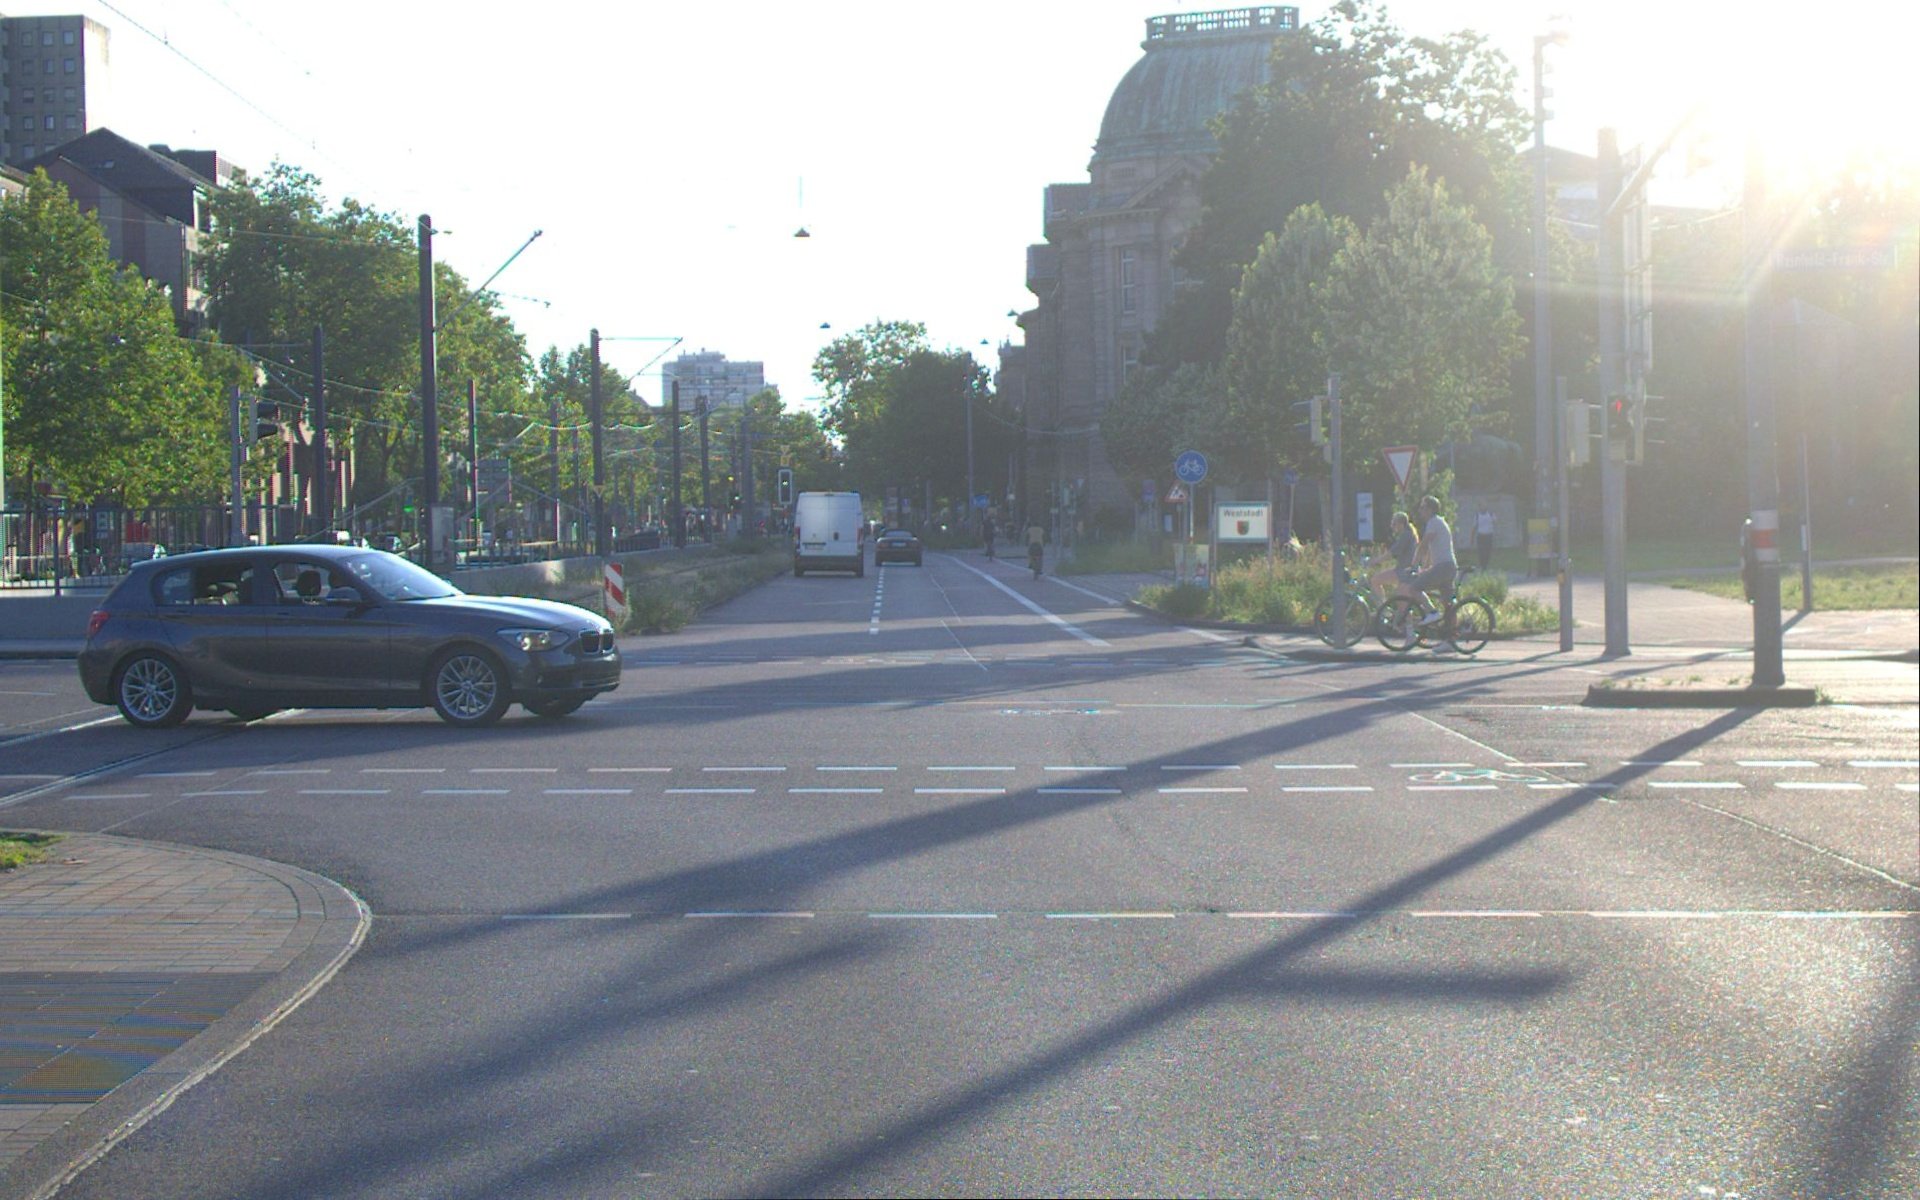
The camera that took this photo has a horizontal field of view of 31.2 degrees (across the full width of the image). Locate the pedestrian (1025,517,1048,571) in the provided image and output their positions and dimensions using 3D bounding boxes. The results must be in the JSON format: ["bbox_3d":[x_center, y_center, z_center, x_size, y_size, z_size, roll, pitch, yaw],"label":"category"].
[{"bbox_3d":[2.157,-1.577,96.930,0.616,1.470,0.800,-1,2,3],"label":"pedestrian"}]

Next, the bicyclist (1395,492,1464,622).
[{"bbox_3d":[5.777,-0.533,42.318,0.798,1.566,0.663,-1,2,5],"label":"bicyclist"}]

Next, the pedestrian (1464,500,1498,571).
[{"bbox_3d":[12.115,-1.504,79.991,0.682,1.605,0.613,-1,2,0],"label":"pedestrian"}]

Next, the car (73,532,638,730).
[{"bbox_3d":[-4.713,0.221,26.943,3.990,1.429,1.717,0,2,16],"label":"car"}]

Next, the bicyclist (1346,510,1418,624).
[{"bbox_3d":[5.421,-0.429,44.226,0.853,1.437,0.663,-1,2,3],"label":"bicyclist"}]

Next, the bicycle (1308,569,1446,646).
[{"bbox_3d":[5.356,0.092,44.240,1.718,0.966,0.609,0,2,2],"label":"bicycle"}]

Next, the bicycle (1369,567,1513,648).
[{"bbox_3d":[5.910,0.094,42.338,1.729,0.966,0.609,0,2,6],"label":"bicycle"}]

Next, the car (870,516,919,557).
[{"bbox_3d":[-2.436,-2.363,128.055,1.737,1.381,4.001,-1,3,0],"label":"car"}]

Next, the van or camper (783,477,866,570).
[{"bbox_3d":[-3.980,-2.288,101.797,2.263,2.615,4.503,-1,3,0],"label":"van or camper"}]
